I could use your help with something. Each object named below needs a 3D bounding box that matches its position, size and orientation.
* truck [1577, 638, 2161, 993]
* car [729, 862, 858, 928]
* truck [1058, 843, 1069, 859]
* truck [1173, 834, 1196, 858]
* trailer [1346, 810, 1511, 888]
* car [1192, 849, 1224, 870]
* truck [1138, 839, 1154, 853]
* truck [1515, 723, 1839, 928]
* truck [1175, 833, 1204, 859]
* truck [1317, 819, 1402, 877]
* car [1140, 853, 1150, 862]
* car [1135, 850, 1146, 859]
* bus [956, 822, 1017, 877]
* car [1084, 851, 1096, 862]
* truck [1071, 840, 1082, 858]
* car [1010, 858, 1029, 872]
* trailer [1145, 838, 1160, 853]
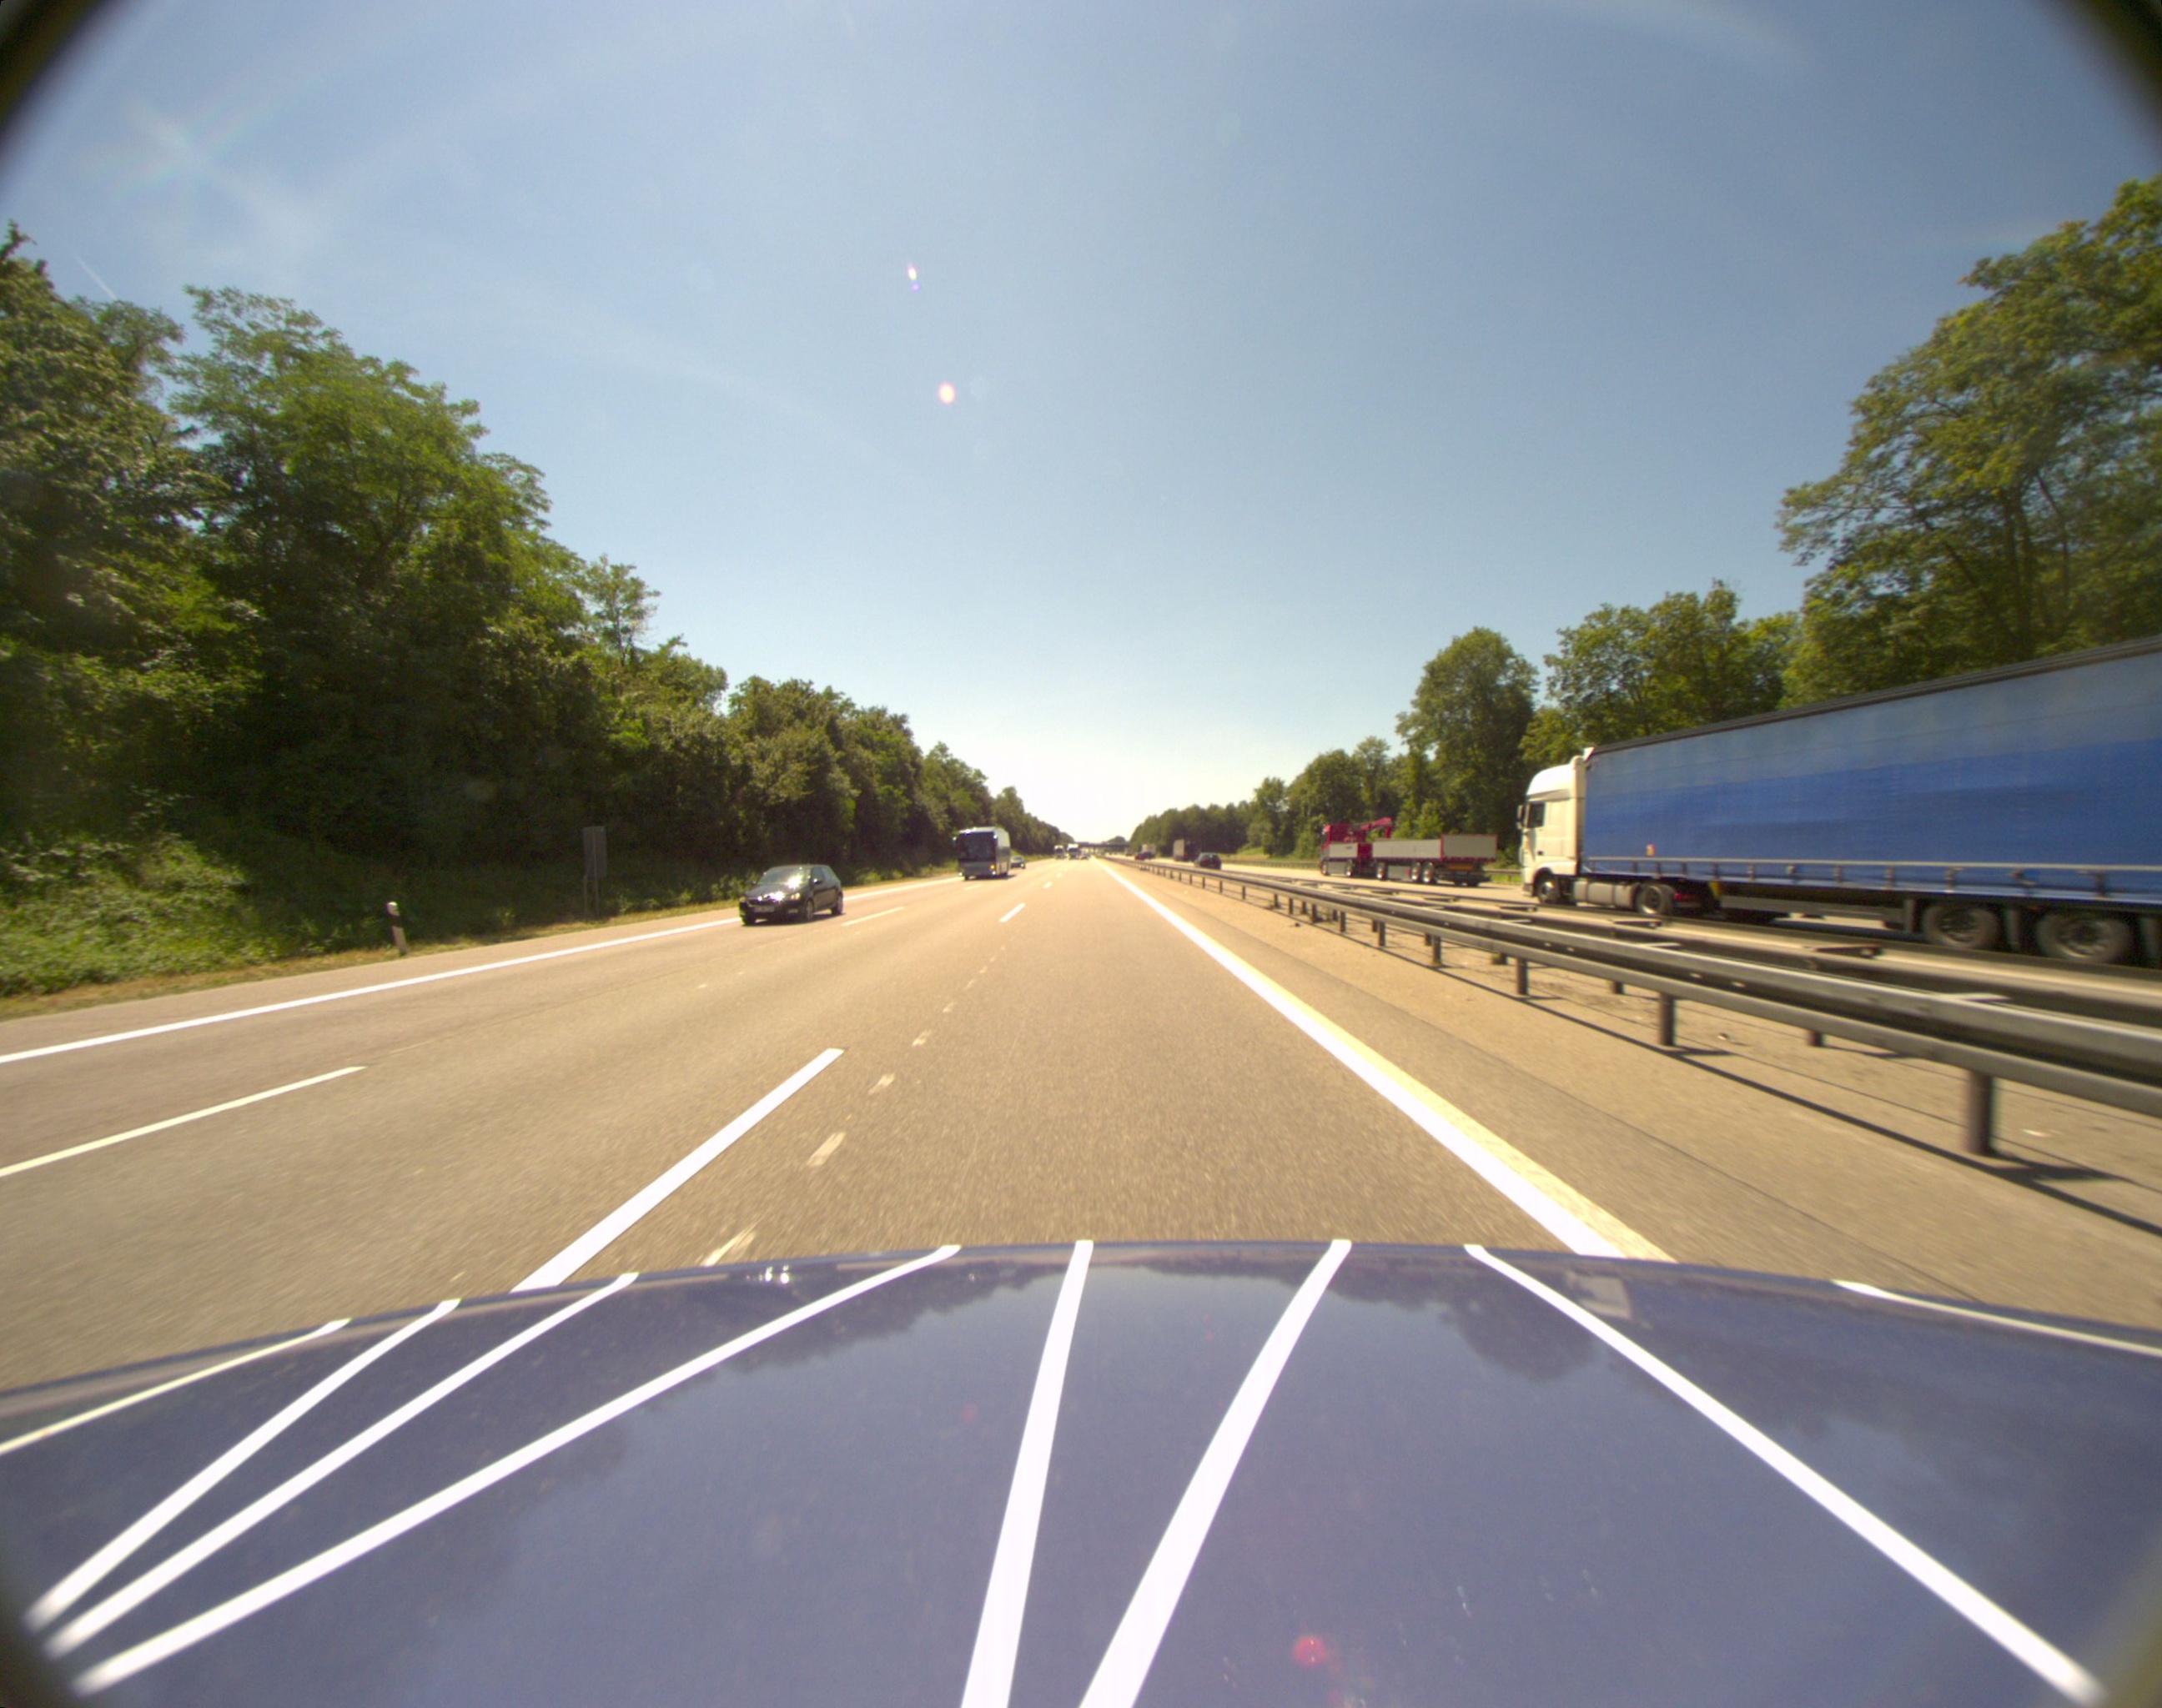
[{"bbox_3d":[13.690,-0.521,11.675,2.994,3.995,13.934,-2,1,0],"label":"truck"},{"bbox_3d":[-7.613,1.007,20.630,1.674,1.439,4.573,-2,1,0],"label":"car"},{"bbox_3d":[-5.181,-0.864,226.837,2.616,4.638,10.960,-2,1,0],"label":"truck"},{"bbox_3d":[19.787,-1.590,145.860,3.332,4.317,6.612,-2,1,0],"label":"truck"},{"bbox_3d":[17.668,-0.300,40.218,2.786,3.374,13.288,-2,1,1],"label":"trailer"},{"bbox_3d":[10.223,0.397,61.579,1.811,1.582,4.668,-2,1,1],"label":"car"},{"bbox_3d":[18.848,-2.248,219.796,2.588,3.984,10.332,-2,1,-5],"label":"truck"},{"bbox_3d":[13.705,-0.605,18.278,2.994,3.995,6.040,-2,1,0],"label":"truck"},{"bbox_3d":[19.750,-1.502,139.045,3.332,4.316,13.908,-2,1,0],"label":"truck"},{"bbox_3d":[17.833,-0.385,49.263,2.756,3.374,7.660,-2,1,1],"label":"truck"},{"bbox_3d":[14.653,0.811,173.768,1.998,2.002,5.358,1,1,1],"label":"car"},{"bbox_3d":[11.146,0.078,142.520,1.736,1.576,4.644,-2,1,2],"label":"car"},{"bbox_3d":[-6.763,-0.363,56.621,2.617,3.532,13.680,-2,1,0],"label":"bus"},{"bbox_3d":[2.148,0.528,183.486,2.616,2.389,7.122,-2,1,0],"label":"car"},{"bbox_3d":[-1.235,-1.353,205.309,2.616,4.638,10.960,-2,1,0],"label":"truck"},{"bbox_3d":[-7.185,1.279,89.677,1.814,1.607,3.999,-2,1,1],"label":"car"},{"bbox_3d":[19.779,-2.431,210.384,2.586,3.966,8.554,-2,1,-6],"label":"trailer"}]
